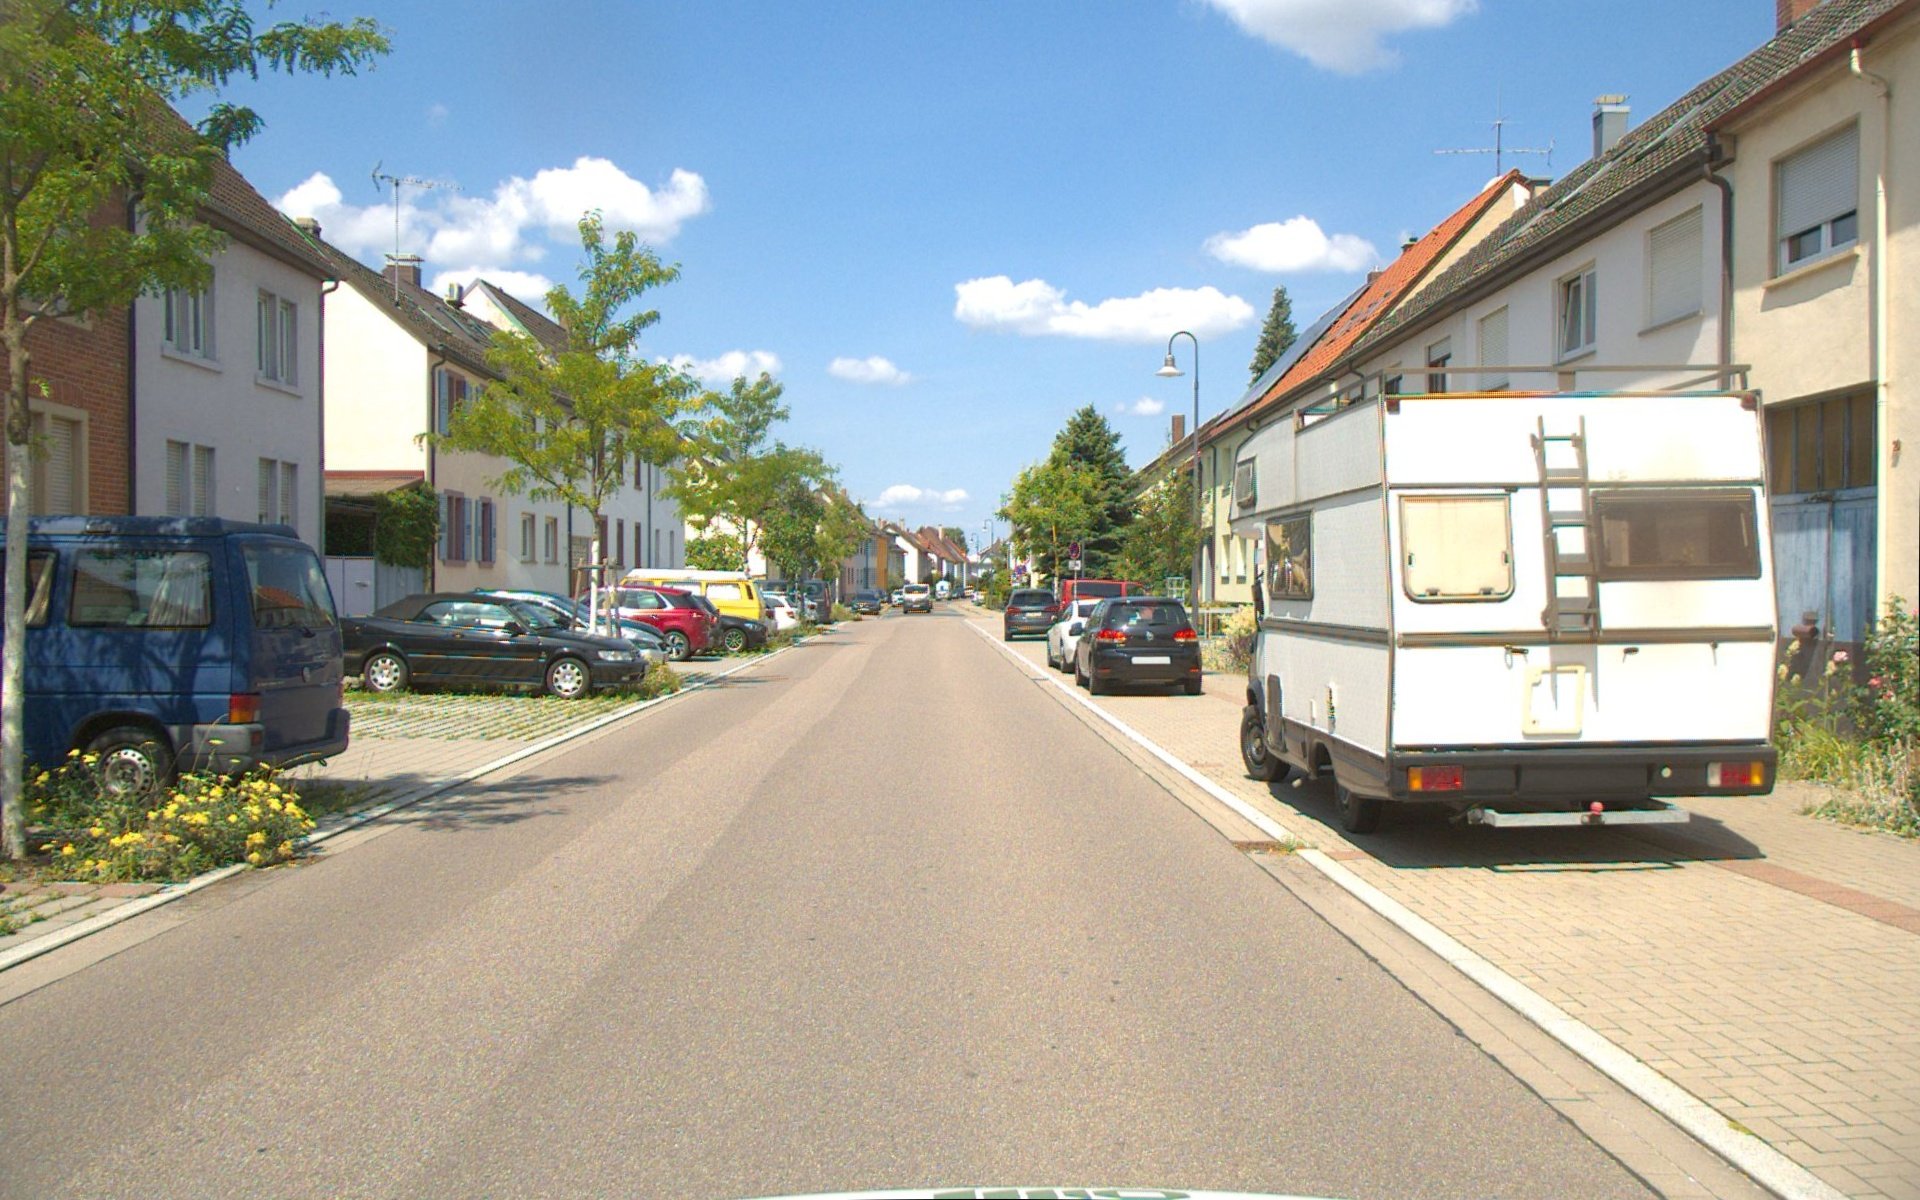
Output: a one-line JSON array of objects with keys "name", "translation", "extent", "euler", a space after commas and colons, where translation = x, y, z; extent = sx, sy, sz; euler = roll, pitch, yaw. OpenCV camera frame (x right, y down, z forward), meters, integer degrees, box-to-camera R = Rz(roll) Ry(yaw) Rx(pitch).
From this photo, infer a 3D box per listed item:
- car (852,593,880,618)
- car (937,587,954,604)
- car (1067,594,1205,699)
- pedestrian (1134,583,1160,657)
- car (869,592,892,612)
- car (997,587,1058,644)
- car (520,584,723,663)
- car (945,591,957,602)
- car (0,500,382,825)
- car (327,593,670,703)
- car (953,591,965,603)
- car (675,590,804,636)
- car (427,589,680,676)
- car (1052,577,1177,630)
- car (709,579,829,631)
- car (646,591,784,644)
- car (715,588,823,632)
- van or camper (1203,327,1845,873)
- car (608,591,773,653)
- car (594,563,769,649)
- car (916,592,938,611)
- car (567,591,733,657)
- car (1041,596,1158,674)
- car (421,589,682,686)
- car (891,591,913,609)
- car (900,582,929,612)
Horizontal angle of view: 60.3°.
[{"name": "car", "translation": [-6.397, 0.354, 112.059], "extent": [1.780, 1.458, 4.137], "euler": [4, 1, -4]}, {"name": "car", "translation": [-2.003, -0.630, 230.913], "extent": [2.002, 2.352, 3.772], "euler": [2, -1, 3]}, {"name": "car", "translation": [2.748, 0.689, 26.584], "extent": [1.731, 1.556, 4.006], "euler": [0, 0, -1]}, {"name": "pedestrian", "translation": [4.569, 0.483, 40.523], "extent": [0.546, 1.779, 0.673], "euler": [0, -1, 0]}, {"name": "car", "translation": [-7.113, 0.173, 148.165], "extent": [1.774, 1.637, 3.999], "euler": [2, 0, -1]}, {"name": "car", "translation": [2.160, 0.462, 53.711], "extent": [1.826, 1.664, 4.447], "euler": [-2, 1, 1]}, {"name": "car", "translation": [-7.528, 0.519, 37.085], "extent": [4.167, 1.639, 1.842], "euler": [1, 0, -2]}, {"name": "car", "translation": [-1.330, -0.562, 253.191], "extent": [1.656, 1.530, 3.772], "euler": [2, -1, 3]}, {"name": "car", "translation": [-6.652, 0.367, 11.513], "extent": [4.518, 2.031, 1.953], "euler": [1, 0, 1]}, {"name": "car", "translation": [-6.591, 0.667, 23.976], "extent": [4.432, 1.450, 1.795], "euler": [1, 0, -2]}, {"name": "car", "translation": [-0.151, -0.473, 260.686], "extent": [1.656, 1.689, 3.772], "euler": [2, -1, 3]}, {"name": "car", "translation": [-7.625, 0.445, 57.541], "extent": [4.206, 1.493, 1.774], "euler": [1, -1, 0]}, {"name": "car", "translation": [-7.508, 0.589, 30.884], "extent": [4.317, 1.503, 1.774], "euler": [1, 0, -5]}, {"name": "car", "translation": [5.903, 0.144, 63.622], "extent": [4.526, 1.927, 2.019], "euler": [1, -1, -2]}, {"name": "car", "translation": [-7.720, 0.211, 67.174], "extent": [4.605, 1.957, 1.937], "euler": [2, -1, -1]}, {"name": "car", "translation": [-7.324, 0.512, 49.532], "extent": [3.997, 1.493, 1.750], "euler": [1, 0, -10]}, {"name": "car", "translation": [-7.405, 0.390, 64.426], "extent": [4.101, 1.596, 1.772], "euler": [2, -1, -5]}, {"name": "van or camper", "translation": [3.439, -0.033, 11.701], "extent": [2.423, 2.859, 5.789], "euler": [-1, 0, -1]}, {"name": "car", "translation": [-6.878, 0.559, 42.448], "extent": [3.928, 1.485, 1.755], "euler": [1, 0, -1]}, {"name": "car", "translation": [-7.517, 0.163, 45.002], "extent": [4.417, 2.215, 1.925], "euler": [1, 0, -1]}, {"name": "car", "translation": [-2.805, 0.108, 139.106], "extent": [1.727, 1.549, 4.047], "euler": [-2, 0, -2]}, {"name": "car", "translation": [-7.424, 0.569, 39.905], "extent": [3.716, 1.485, 1.754], "euler": [1, 0, -4]}, {"name": "car", "translation": [2.765, 0.660, 33.803], "extent": [1.795, 1.491, 4.517], "euler": [0, 0, -3]}, {"name": "car", "translation": [-6.805, 0.617, 27.859], "extent": [3.973, 1.503, 1.774], "euler": [1, 0, -4]}, {"name": "car", "translation": [-5.639, 0.030, 161.198], "extent": [1.811, 1.688, 4.001], "euler": [2, 0, 2]}, {"name": "car", "translation": [-3.161, -0.194, 114.405], "extent": [1.982, 1.984, 4.896], "euler": [0, 0, -2]}]
